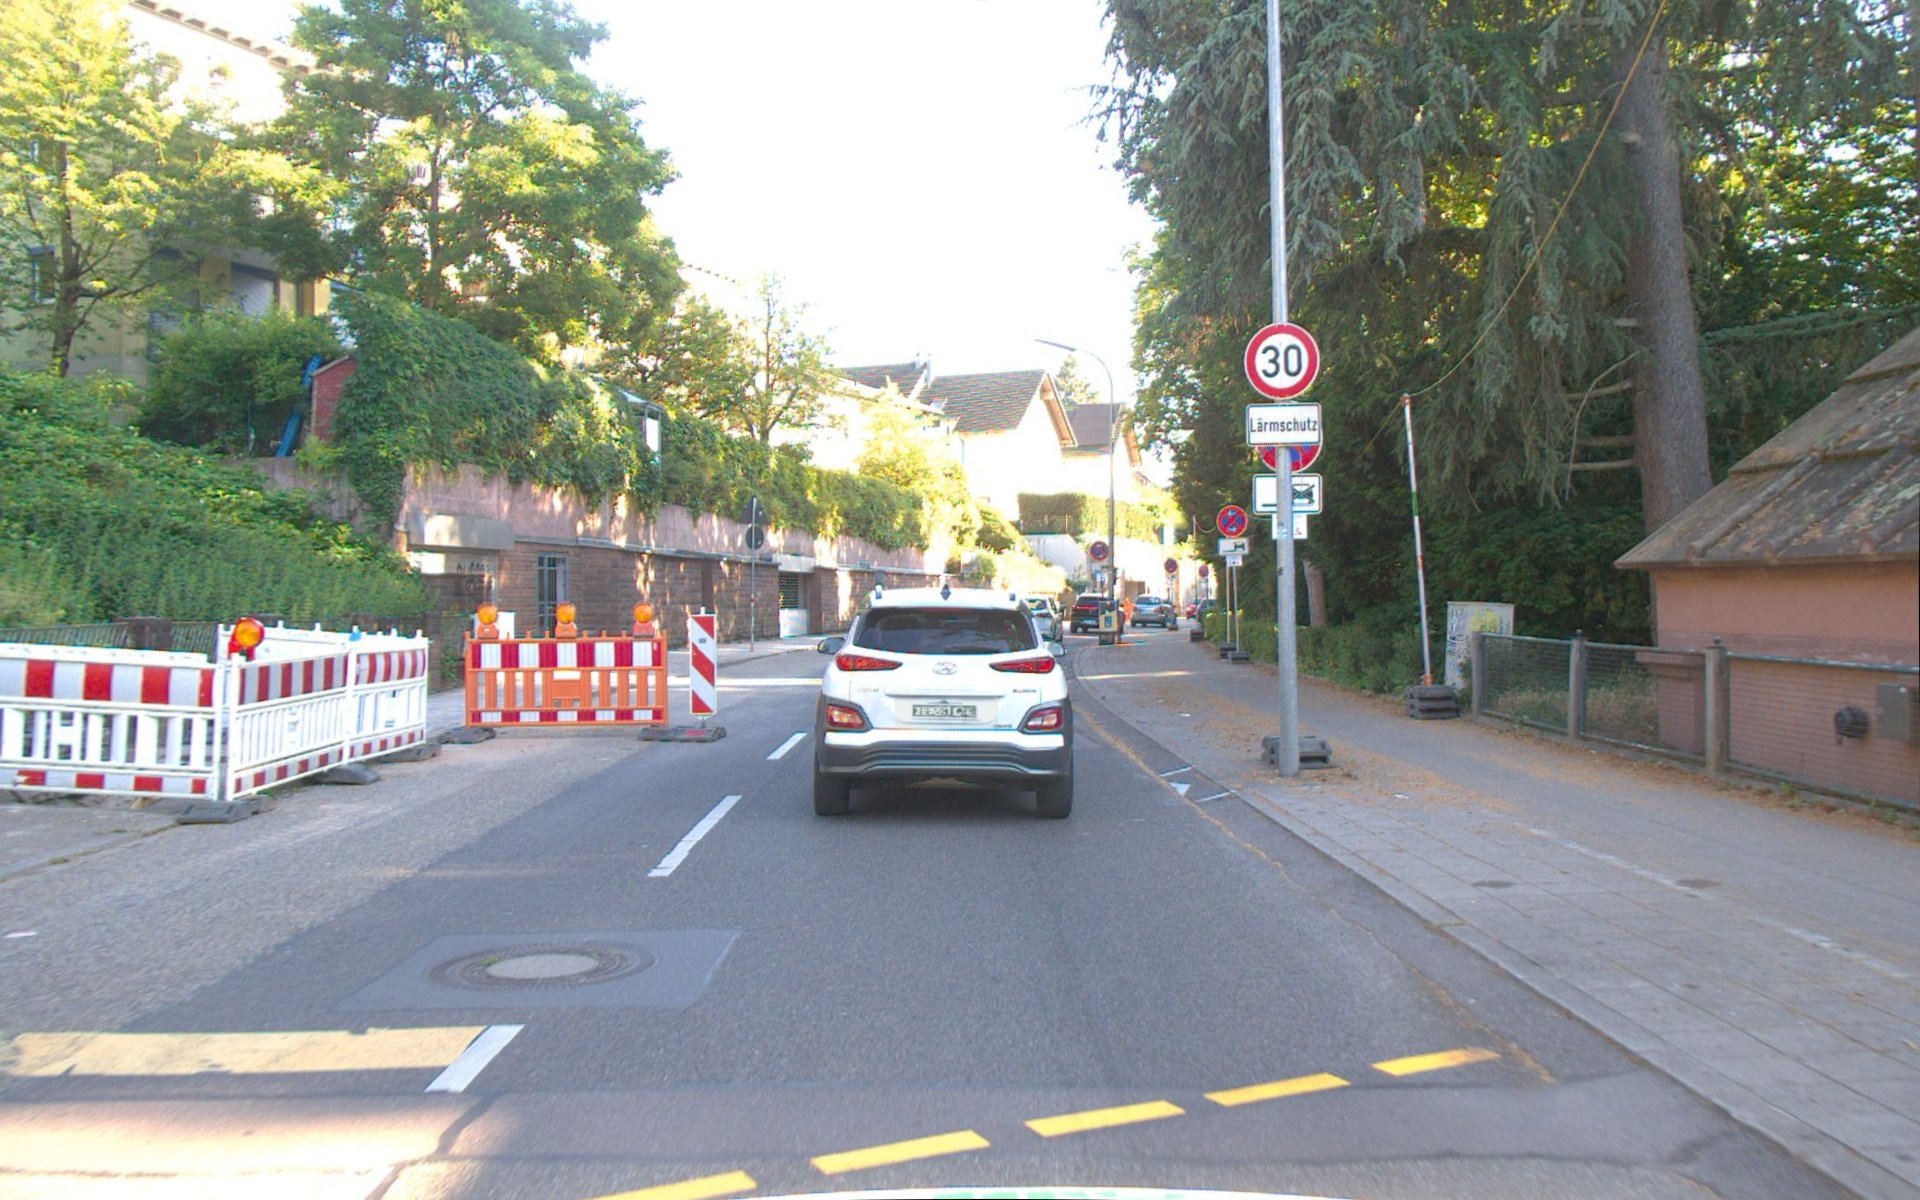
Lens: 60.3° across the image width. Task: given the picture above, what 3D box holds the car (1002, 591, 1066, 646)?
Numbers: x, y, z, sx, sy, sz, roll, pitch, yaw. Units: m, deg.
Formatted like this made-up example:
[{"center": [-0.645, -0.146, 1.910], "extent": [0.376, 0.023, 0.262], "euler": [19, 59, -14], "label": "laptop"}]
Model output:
[{"center": [2.329, 0.550, 51.194], "extent": [1.767, 1.564, 4.002], "euler": [2, 0, 5], "label": "car"}]

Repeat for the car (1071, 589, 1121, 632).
[{"center": [5.662, 0.422, 68.552], "extent": [1.792, 1.691, 4.003], "euler": [2, 0, 8], "label": "car"}]

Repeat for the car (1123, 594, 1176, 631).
[{"center": [9.474, 0.606, 82.307], "extent": [1.793, 1.771, 4.002], "euler": [-2, -1, 18], "label": "car"}]

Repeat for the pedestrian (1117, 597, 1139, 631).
[{"center": [9.605, 0.798, 94.488], "extent": [1.057, 1.945, 0.841], "euler": [1, 0, 15], "label": "pedestrian"}]

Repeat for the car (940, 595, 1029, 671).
[{"center": [0.455, 0.645, 35.089], "extent": [1.673, 1.459, 4.363], "euler": [2, 0, -2], "label": "car"}]

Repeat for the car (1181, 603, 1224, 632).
[{"center": [14.521, 1.036, 98.952], "extent": [1.793, 1.691, 4.001], "euler": [1, 0, 19], "label": "car"}]

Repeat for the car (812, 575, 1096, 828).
[{"center": [-0.208, 0.651, 12.686], "extent": [1.785, 1.601, 3.995], "euler": [2, 0, -6], "label": "car"}]
